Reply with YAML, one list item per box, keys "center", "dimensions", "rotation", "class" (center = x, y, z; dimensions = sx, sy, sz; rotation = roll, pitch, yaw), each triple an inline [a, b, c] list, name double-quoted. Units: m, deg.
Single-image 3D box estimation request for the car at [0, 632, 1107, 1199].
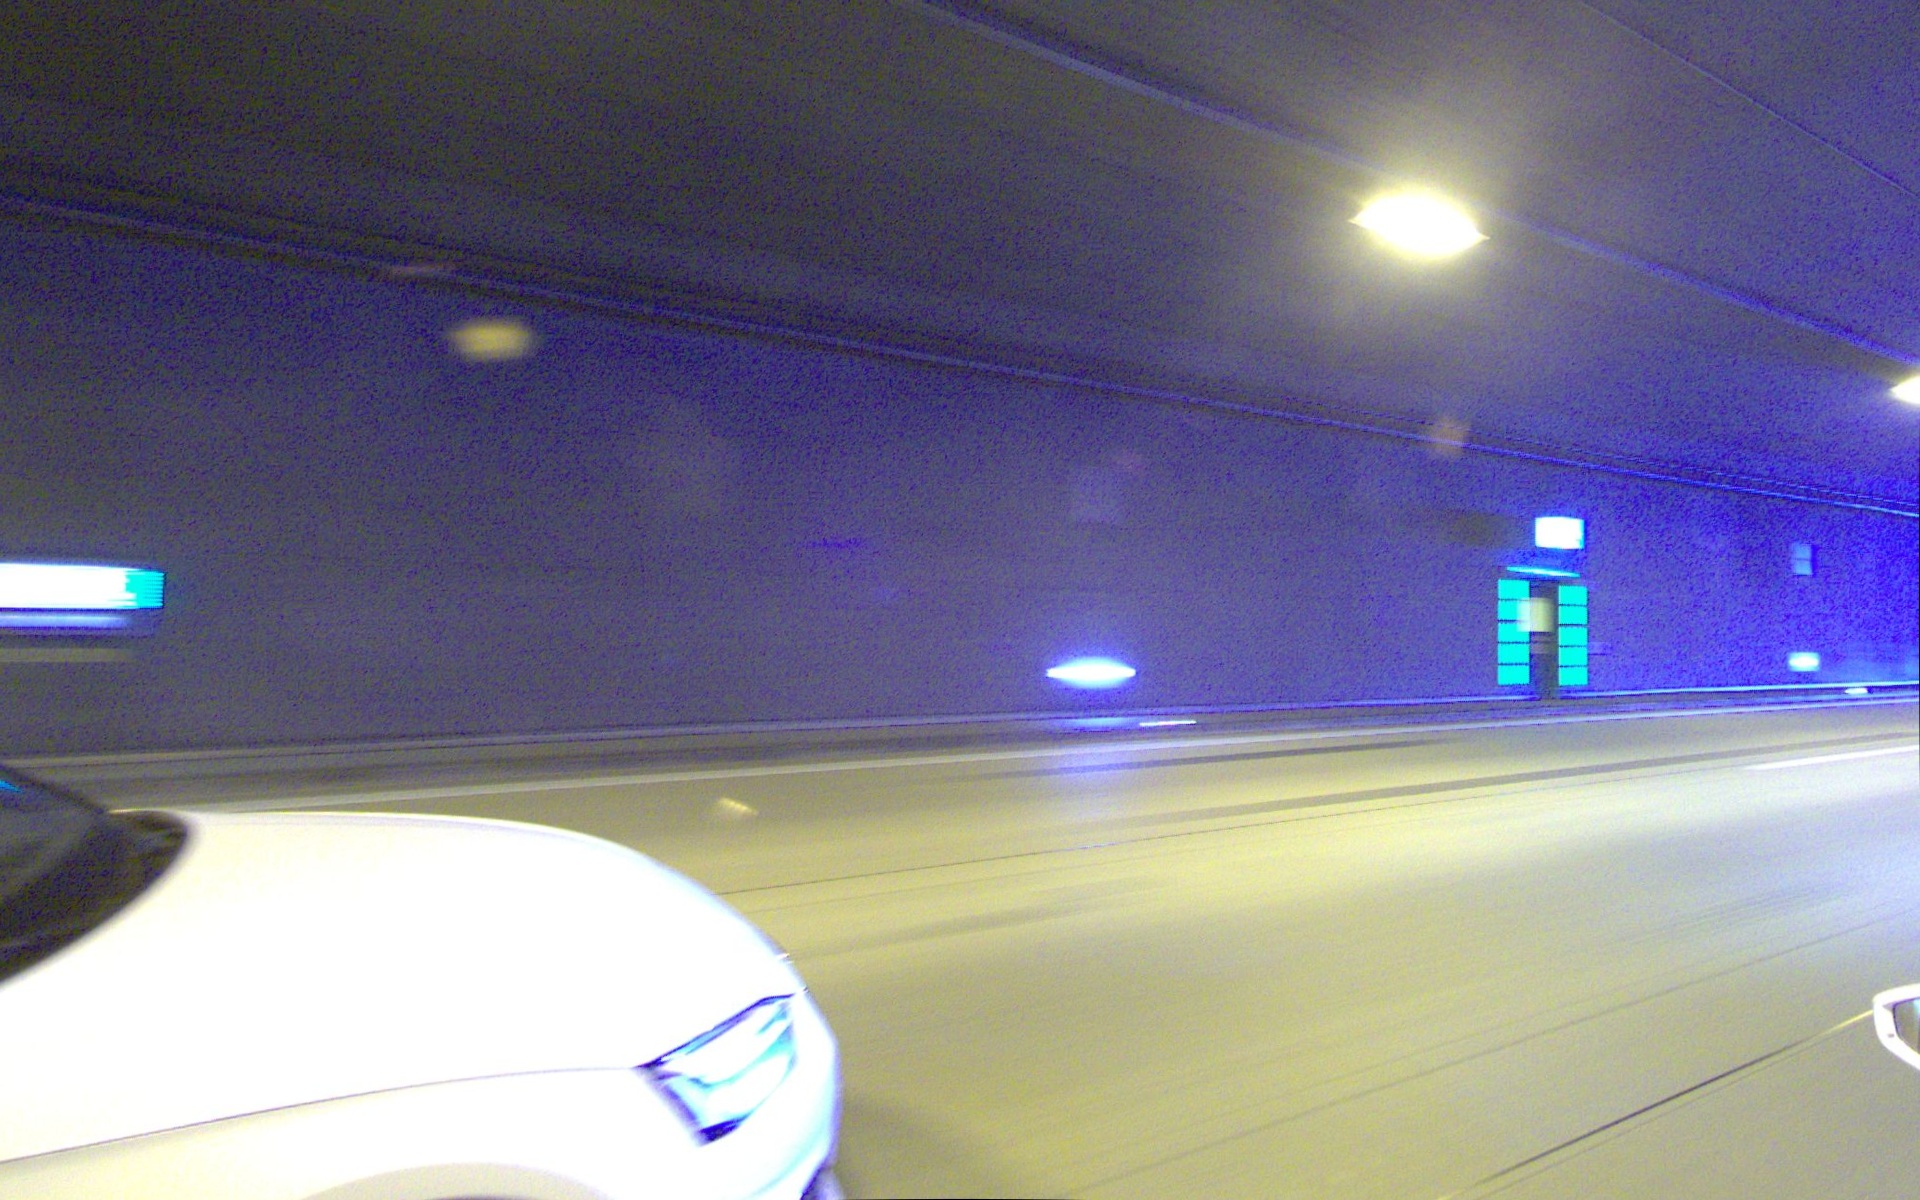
- center: [-2.310, 0.767, 1.296]
  dimensions: [5.002, 1.437, 1.694]
  rotation: [2, -1, -31]
  class: "car"
